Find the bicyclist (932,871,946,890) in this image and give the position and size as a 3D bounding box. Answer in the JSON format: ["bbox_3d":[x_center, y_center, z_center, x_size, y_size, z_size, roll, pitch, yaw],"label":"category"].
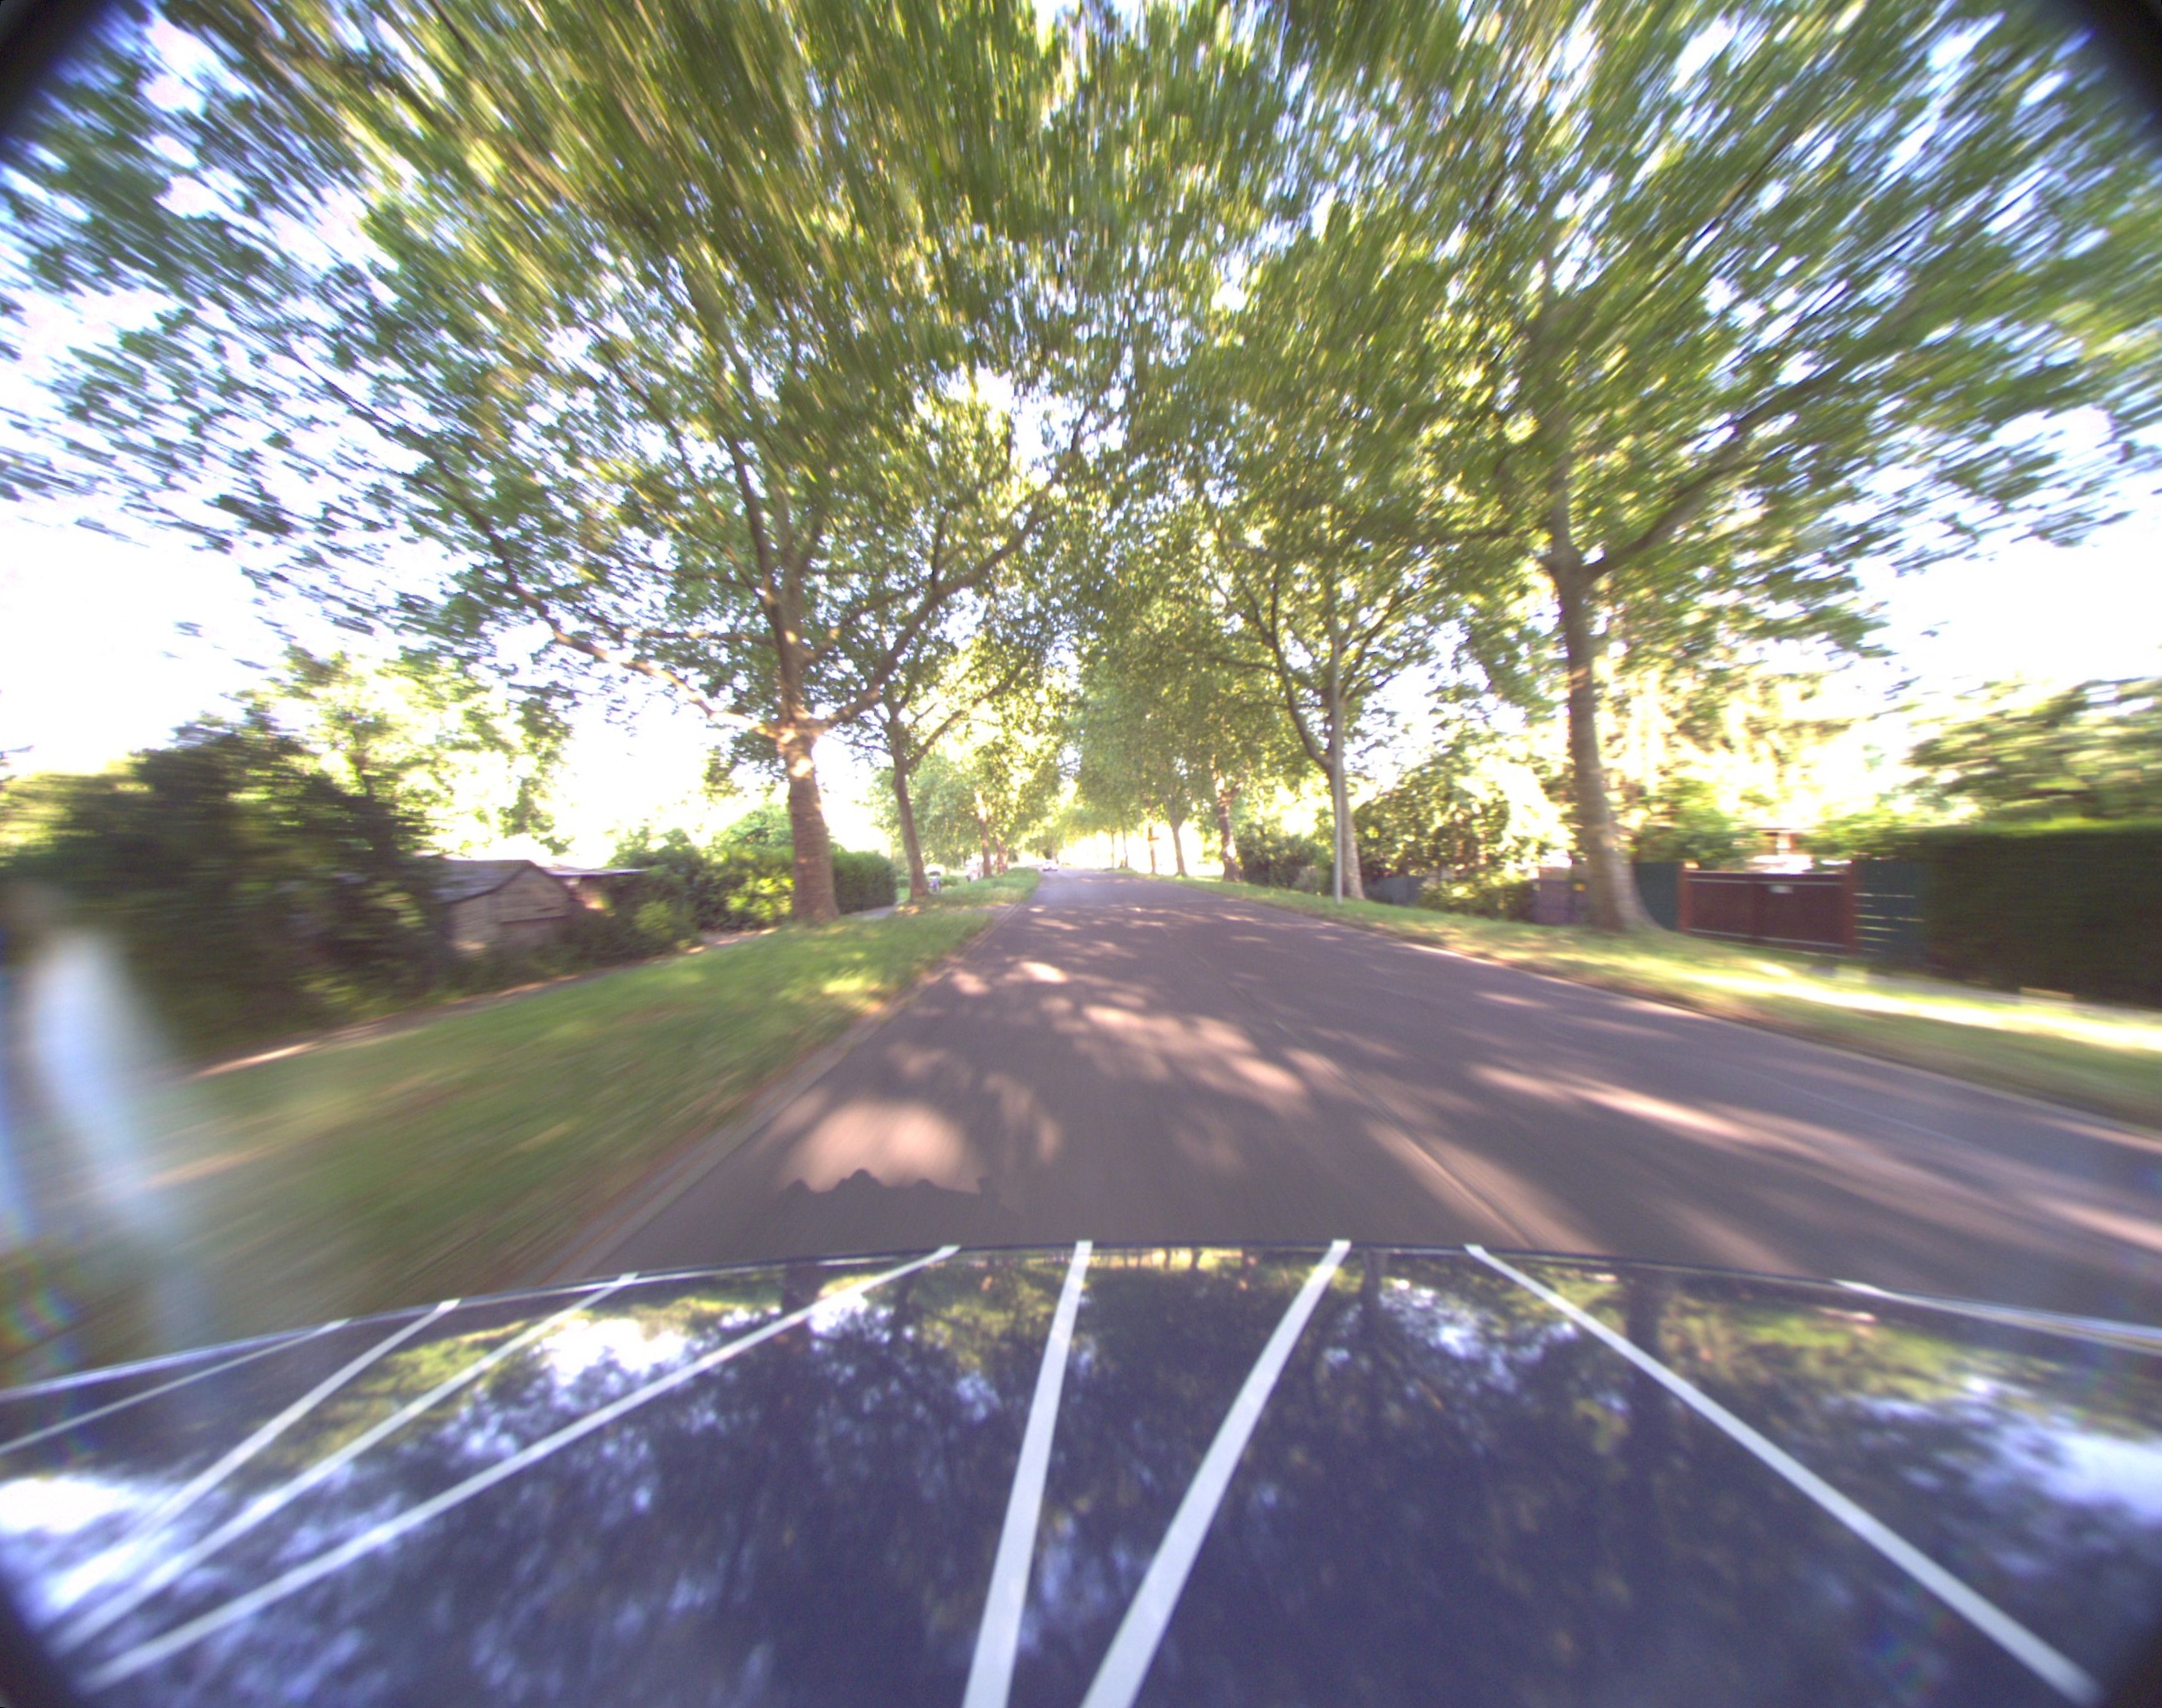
[{"bbox_3d":[-10.188,1.908,54.558,0.735,1.358,0.771,-2,1,3],"label":"bicyclist"}]

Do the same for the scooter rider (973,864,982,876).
[{"bbox_3d":[-13.617,2.108,100.011,0.782,1.567,0.846,-3,0,41],"label":"scooter rider"}]

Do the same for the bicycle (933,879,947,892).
[{"bbox_3d":[-10.152,2.285,54.764,0.553,0.812,1.889,-2,1,2],"label":"bicycle"}]

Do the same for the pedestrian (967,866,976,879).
[{"bbox_3d":[-13.177,2.240,91.364,0.843,1.567,0.785,-2,1,13],"label":"pedestrian"}]

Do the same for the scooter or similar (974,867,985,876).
[{"bbox_3d":[-13.365,2.285,100.246,0.340,1.128,1.602,-1,1,42],"label":"scooter or similar"}]

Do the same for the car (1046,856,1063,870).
[{"bbox_3d":[-3.528,1.124,99.390,1.999,1.655,3.998,-2,0,-4],"label":"car"}]

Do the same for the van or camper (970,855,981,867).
[{"bbox_3d":[-24.532,1.616,175.849,2.388,2.783,5.680,-2,1,-8],"label":"van or camper"}]
